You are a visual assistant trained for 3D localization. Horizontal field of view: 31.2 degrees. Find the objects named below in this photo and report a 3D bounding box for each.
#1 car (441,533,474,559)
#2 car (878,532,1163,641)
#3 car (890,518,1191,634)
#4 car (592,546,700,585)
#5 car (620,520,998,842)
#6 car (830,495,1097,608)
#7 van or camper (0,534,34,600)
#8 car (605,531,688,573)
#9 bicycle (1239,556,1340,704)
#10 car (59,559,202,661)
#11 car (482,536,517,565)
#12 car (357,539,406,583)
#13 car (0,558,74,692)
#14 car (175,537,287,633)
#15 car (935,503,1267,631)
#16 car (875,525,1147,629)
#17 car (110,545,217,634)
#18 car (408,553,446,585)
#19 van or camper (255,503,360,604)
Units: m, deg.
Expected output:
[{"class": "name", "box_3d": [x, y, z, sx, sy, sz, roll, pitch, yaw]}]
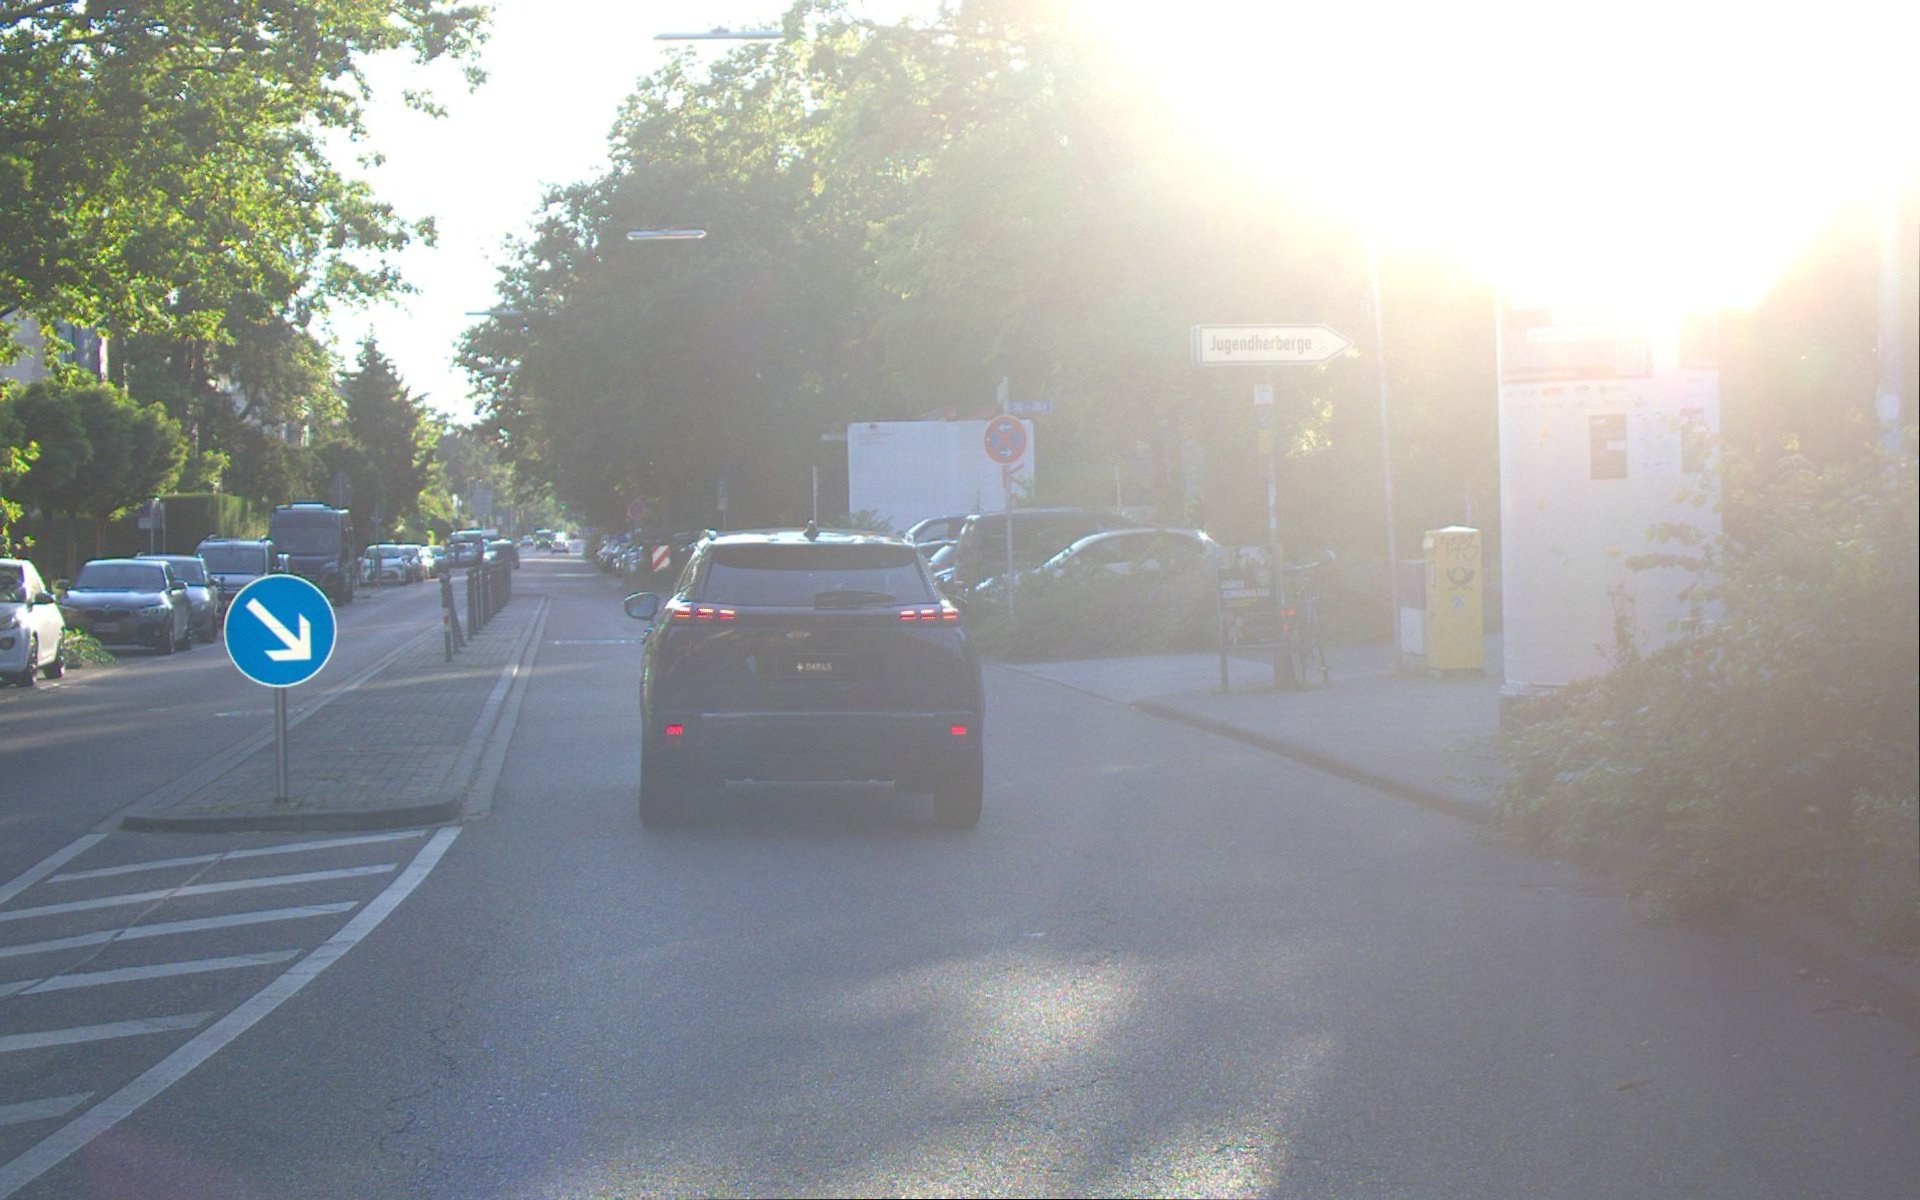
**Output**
[{"class": "car", "box_3d": [-30.975, -3.310, 212.146, 1.899, 1.568, 4.001, -1, 1, -7]}, {"class": "car", "box_3d": [0.963, -0.241, 56.371, 4.362, 1.532, 1.921, -3, 1, -7]}, {"class": "car", "box_3d": [1.225, -0.387, 53.280, 4.362, 1.548, 1.876, -3, 1, -7]}, {"class": "car", "box_3d": [-12.944, -1.421, 141.617, 4.242, 1.444, 2.022, -2, 1, -9]}, {"class": "car", "box_3d": [-0.942, 0.360, 18.978, 1.771, 1.563, 4.110, 1, 1, -7]}, {"class": "car", "box_3d": [0.044, -0.935, 66.040, 4.851, 1.909, 1.916, -3, 1, -7]}, {"class": "van or camper", "box_3d": [-32.466, -1.033, 110.659, 4.768, 1.979, 2.001, -1, 5, -4]}, {"class": "car", "box_3d": [-15.808, -2.415, 173.313, 3.986, 2.082, 1.758, -1, 1, -11]}, {"class": "bicycle", "box_3d": [2.880, 0.240, 29.911, 0.492, 1.144, 2.284, -4, 2, 14]}, {"class": "car", "box_3d": [-12.737, 0.116, 52.974, 1.617, 1.491, 4.378, 0, 1, -7]}, {"class": "car", "box_3d": [-24.316, -2.592, 181.691, 1.740, 1.453, 4.625, -2, 1, -7]}, {"class": "car", "box_3d": [-21.083, -1.424, 125.317, 1.613, 1.510, 3.713, -3, 1, -8]}, {"class": "car", "box_3d": [-11.533, 0.265, 40.457, 1.617, 1.491, 3.925, 0, 1, -7]}, {"class": "car", "box_3d": [-14.934, -0.331, 70.606, 1.777, 1.859, 4.333, 1, 1, -6]}, {"class": "car", "box_3d": [1.951, -0.468, 48.264, 4.362, 1.548, 1.728, -3, 1, -7]}, {"class": "car", "box_3d": [0.845, -0.405, 58.977, 4.362, 1.532, 1.921, -3, 1, -7]}, {"class": "car", "box_3d": [-13.923, -0.205, 60.228, 1.718, 1.491, 4.378, 0, 1, -12]}, {"class": "car", "box_3d": [-26.000, -1.528, 167.695, 1.752, 1.409, 3.765, -3, 1, -8]}, {"class": "van or camper", "box_3d": [-17.066, -1.206, 90.205, 2.229, 2.536, 7.081, 1, 1, -7]}]
